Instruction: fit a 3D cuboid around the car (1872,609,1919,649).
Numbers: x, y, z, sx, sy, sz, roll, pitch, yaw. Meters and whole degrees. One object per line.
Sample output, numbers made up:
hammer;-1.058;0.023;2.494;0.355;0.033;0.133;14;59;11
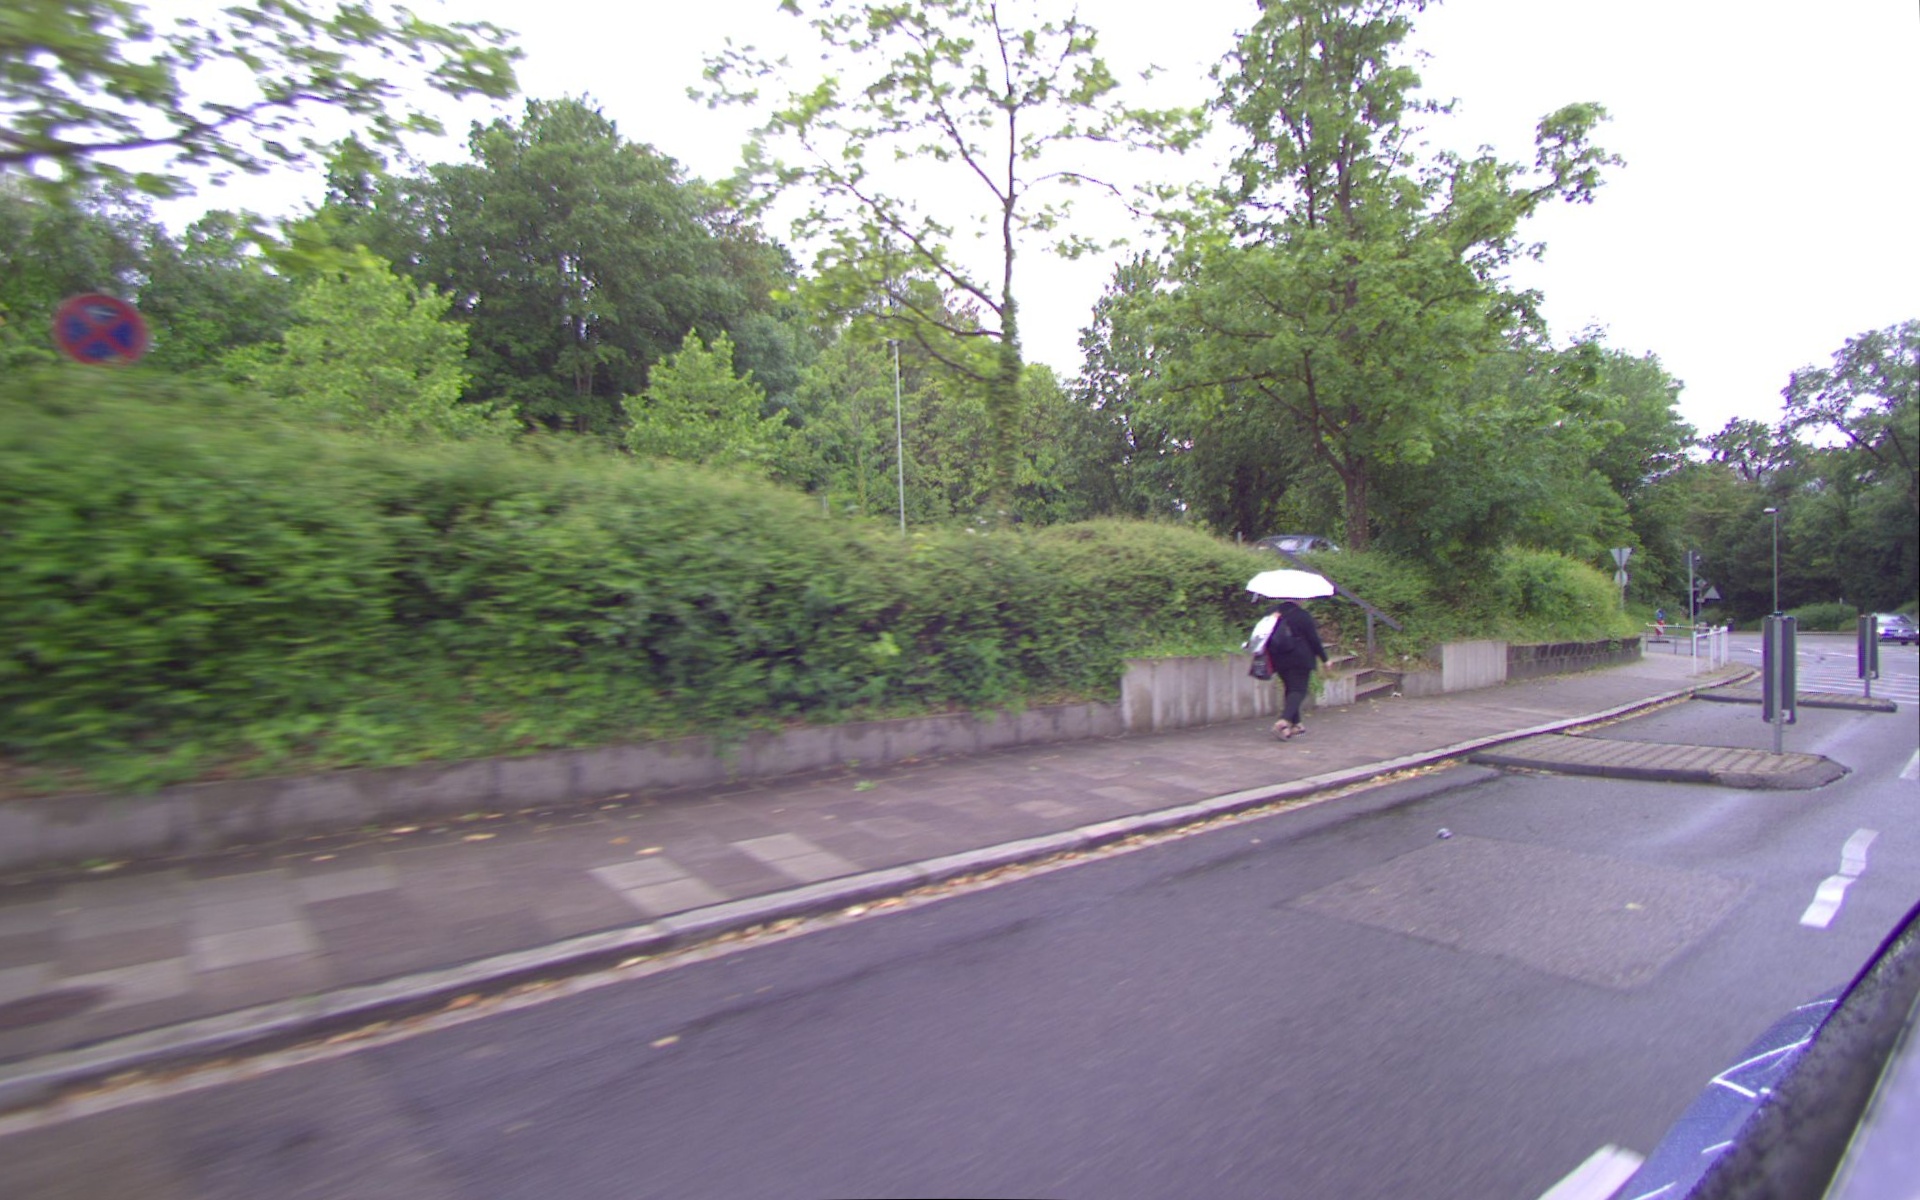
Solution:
car;42.750;1.280;45.819;2.030;1.723;3.936;-1;-1;44

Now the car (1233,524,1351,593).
car;7.044;-0.826;21.344;1.306;1.326;2.833;-1;-1;43

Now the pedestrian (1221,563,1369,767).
pedestrian;3.409;0.593;10.291;1.051;1.917;1.116;0;2;43

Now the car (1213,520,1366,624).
car;7.079;-0.537;21.627;3.358;2.039;1.686;0;-1;-43
